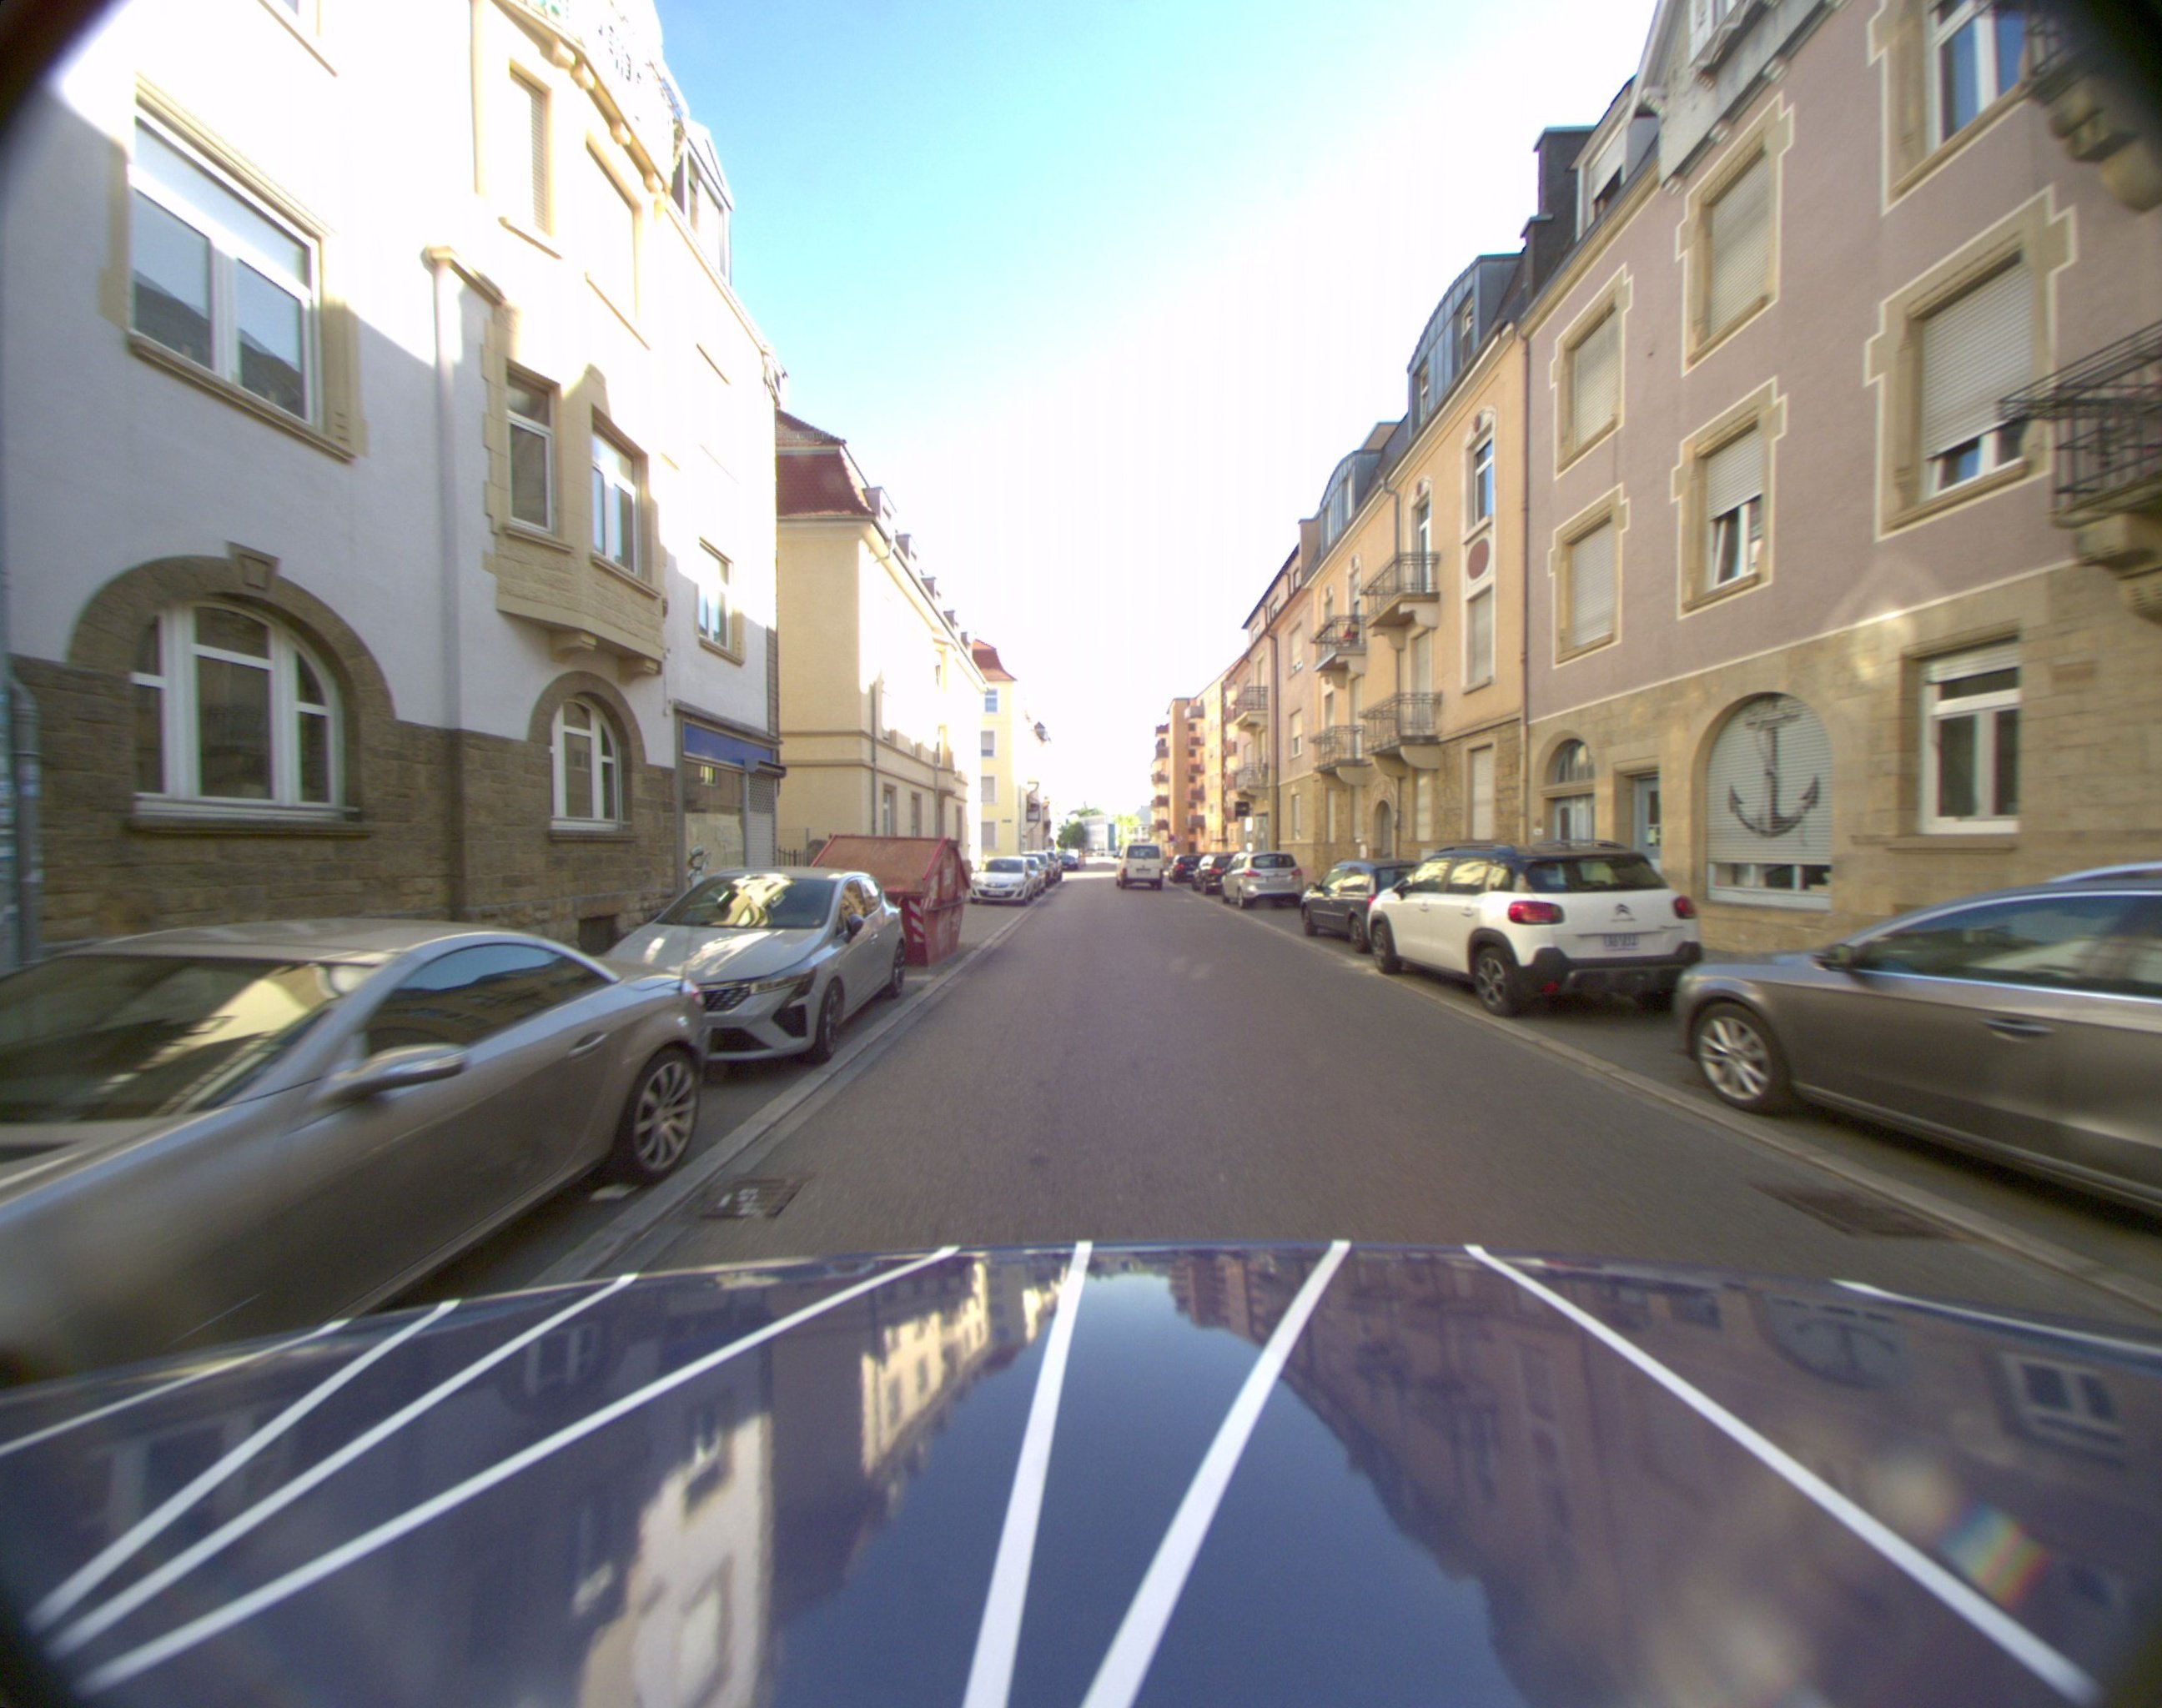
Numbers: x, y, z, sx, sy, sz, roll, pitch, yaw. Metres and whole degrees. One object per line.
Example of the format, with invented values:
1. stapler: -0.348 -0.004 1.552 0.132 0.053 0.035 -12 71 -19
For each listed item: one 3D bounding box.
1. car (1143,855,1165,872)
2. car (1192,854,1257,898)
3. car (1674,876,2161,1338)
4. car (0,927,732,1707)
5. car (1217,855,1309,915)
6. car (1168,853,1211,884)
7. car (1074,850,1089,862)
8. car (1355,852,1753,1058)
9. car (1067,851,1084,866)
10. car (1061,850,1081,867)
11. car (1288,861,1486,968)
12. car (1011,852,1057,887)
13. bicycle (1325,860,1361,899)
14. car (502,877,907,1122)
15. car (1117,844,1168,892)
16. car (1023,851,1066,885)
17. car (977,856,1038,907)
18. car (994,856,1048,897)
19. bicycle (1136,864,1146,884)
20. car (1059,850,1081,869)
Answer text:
1. car: 6.405 0.838 67.106 1.678 1.414 3.501 0 0 2
2. car: 5.282 0.771 28.508 1.719 1.512 4.110 0 0 1
3. car: 4.513 0.913 2.652 1.577 1.478 4.280 -2 0 1
4. car: -2.918 1.054 2.379 1.697 1.247 3.941 0 0 2
5. car: 5.141 0.809 21.883 1.719 1.529 3.723 -1 0 0
6. car: 5.483 0.689 38.796 1.719 1.378 3.865 -4 0 2
7. car: 0.065 0.258 94.352 1.708 1.417 3.721 1 1 1
8. car: 4.591 0.820 8.217 1.719 1.574 4.020 -4 0 0
9. car: -0.553 0.457 76.068 1.708 1.417 3.722 0 0 0
10. car: -0.888 0.390 69.725 1.708 1.417 3.721 1 1 1
11. car: 4.902 0.887 12.755 1.677 1.385 3.665 -4 0 -2
12. car: -2.128 0.672 35.476 1.684 1.537 3.915 1 0 3
13. bicycle: 8.472 0.807 24.653 0.569 1.205 1.649 0 0 -1
14. car: -2.836 0.986 6.769 1.791 1.421 3.806 0 0 -2
15. car: 2.659 0.555 33.798 1.868 1.926 4.599 2 0 1
16. car: -1.849 0.705 39.903 1.790 1.655 4.435 0 0 3
17. car: -2.249 0.819 24.015 1.590 1.456 3.711 0 0 0
18. car: -2.253 0.809 29.406 1.656 1.456 4.094 0 0 1
19. bicycle: 3.450 1.148 43.591 0.541 1.070 1.800 0 0 3
20. car: -0.942 0.437 64.259 1.708 1.417 3.721 1 1 1
